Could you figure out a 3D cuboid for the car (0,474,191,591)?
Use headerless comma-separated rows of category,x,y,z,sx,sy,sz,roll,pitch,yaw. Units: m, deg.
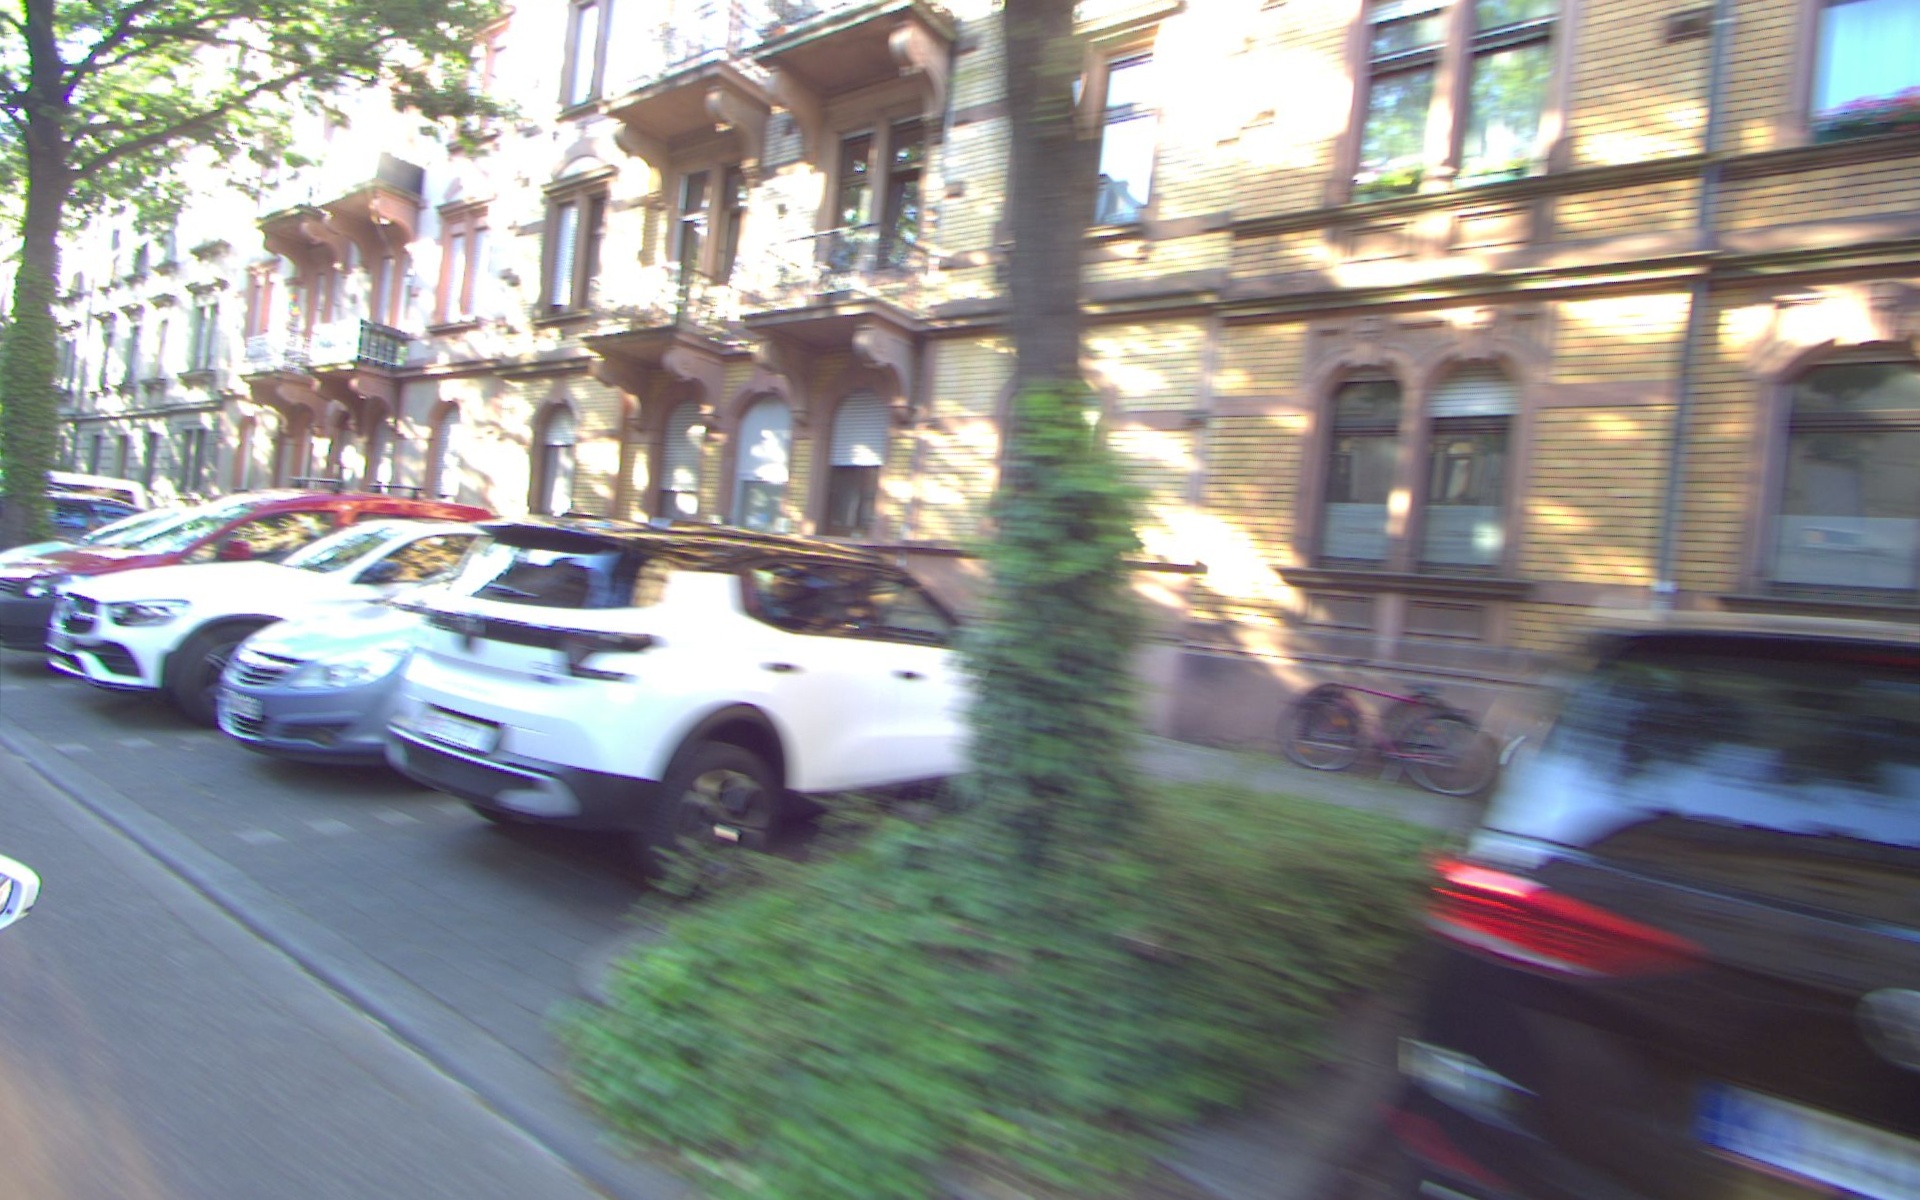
car,-14.996,-1.142,16.000,1.707,1.627,4.008,6,1,35

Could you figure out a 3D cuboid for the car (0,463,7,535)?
car,-28.379,-2.959,26.063,1.806,1.950,5.054,7,1,36

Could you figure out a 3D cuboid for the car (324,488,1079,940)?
car,-1.090,0.468,5.884,1.776,1.648,4.010,6,1,34

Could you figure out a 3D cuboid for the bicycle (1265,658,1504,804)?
bicycle,3.728,1.118,8.947,1.839,0.976,0.404,6,3,37

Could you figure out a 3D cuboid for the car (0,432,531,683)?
car,-6.944,-0.346,10.156,1.820,1.950,4.443,8,3,33

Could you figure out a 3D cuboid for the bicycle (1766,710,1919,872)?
bicycle,6.847,1.401,6.993,1.839,0.976,0.404,6,3,37

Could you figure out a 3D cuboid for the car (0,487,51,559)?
car,-21.333,-1.772,20.180,1.804,1.421,4.223,7,1,31

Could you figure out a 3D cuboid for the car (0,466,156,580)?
car,-17.027,-1.458,17.611,1.806,1.800,4.220,7,1,34

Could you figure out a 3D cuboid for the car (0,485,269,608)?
car,-12.702,-0.780,14.596,1.707,1.486,4.008,6,1,35

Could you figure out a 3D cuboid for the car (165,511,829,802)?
car,-3.015,0.325,7.339,1.766,1.453,4.007,6,1,35

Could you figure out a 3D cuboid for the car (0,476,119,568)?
car,-19.123,-1.631,19.249,1.803,1.631,4.226,7,1,28

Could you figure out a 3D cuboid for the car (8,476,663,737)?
car,-4.946,0.061,8.603,1.821,1.577,4.341,8,3,35

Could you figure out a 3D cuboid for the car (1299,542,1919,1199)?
car,2.632,0.892,3.102,1.809,1.648,4.184,6,1,36

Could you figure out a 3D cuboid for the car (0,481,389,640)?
car,-8.949,-0.408,11.577,1.818,1.474,3.660,8,2,30

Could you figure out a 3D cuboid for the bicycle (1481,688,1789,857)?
bicycle,5.118,1.288,7.745,1.832,0.976,0.405,6,3,19
